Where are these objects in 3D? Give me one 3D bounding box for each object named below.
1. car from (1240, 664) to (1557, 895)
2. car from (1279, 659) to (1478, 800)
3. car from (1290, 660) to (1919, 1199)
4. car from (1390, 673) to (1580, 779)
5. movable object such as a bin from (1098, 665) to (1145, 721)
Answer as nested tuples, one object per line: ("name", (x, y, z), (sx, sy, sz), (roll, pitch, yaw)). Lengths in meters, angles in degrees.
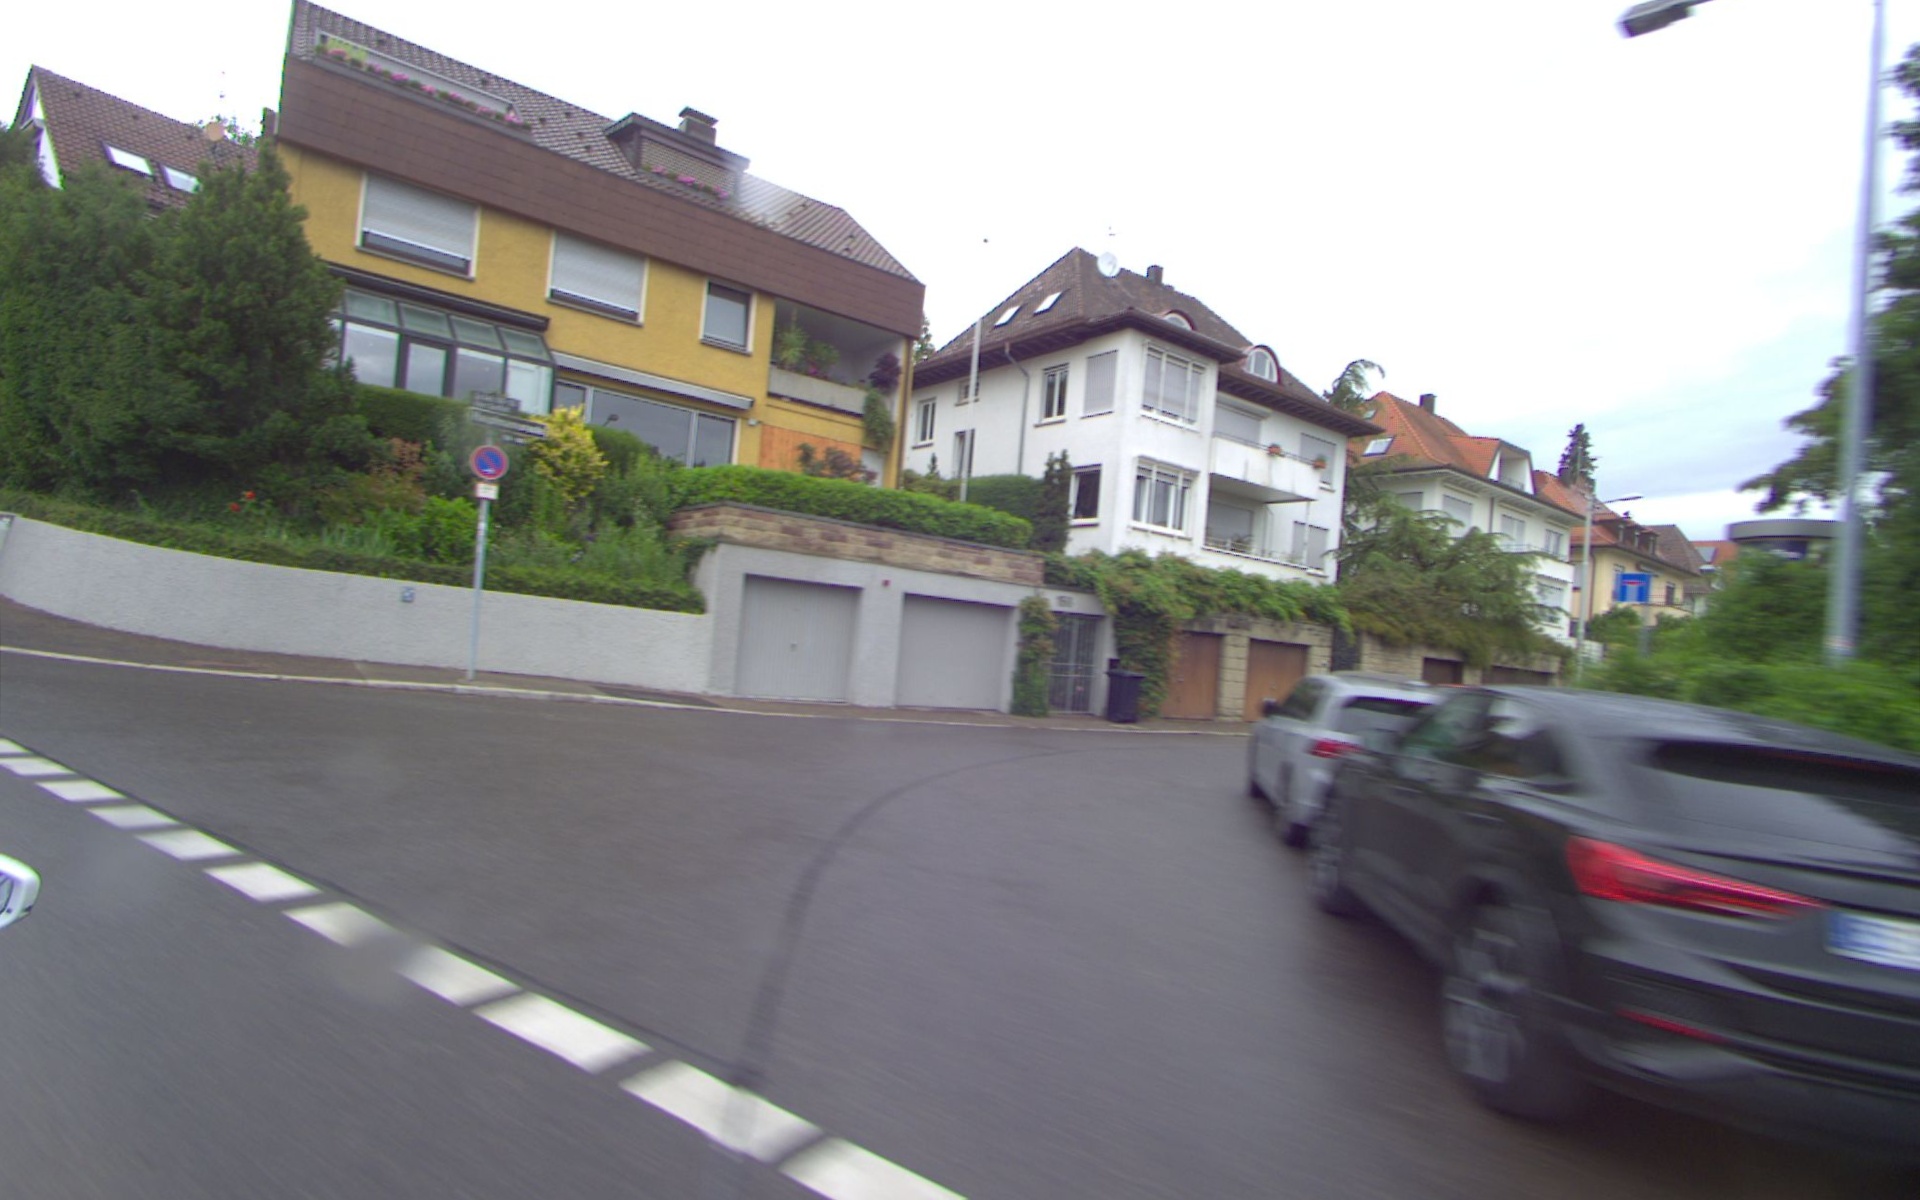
("car", (3.844, 1.460, 9.597), (1.767, 1.442, 4.060), (6, -1, 11))
("car", (6.110, 1.770, 14.471), (1.812, 1.507, 3.592), (8, 0, 34))
("car", (3.068, 1.230, 4.705), (1.962, 1.541, 4.205), (8, -1, 8))
("car", (9.417, 2.241, 17.939), (3.577, 1.506, 1.744), (7, -2, -41))
("movable object such as a bin", (3.326, 1.904, 20.686), (0.674, 1.031, 0.529), (8, 0, 31))
